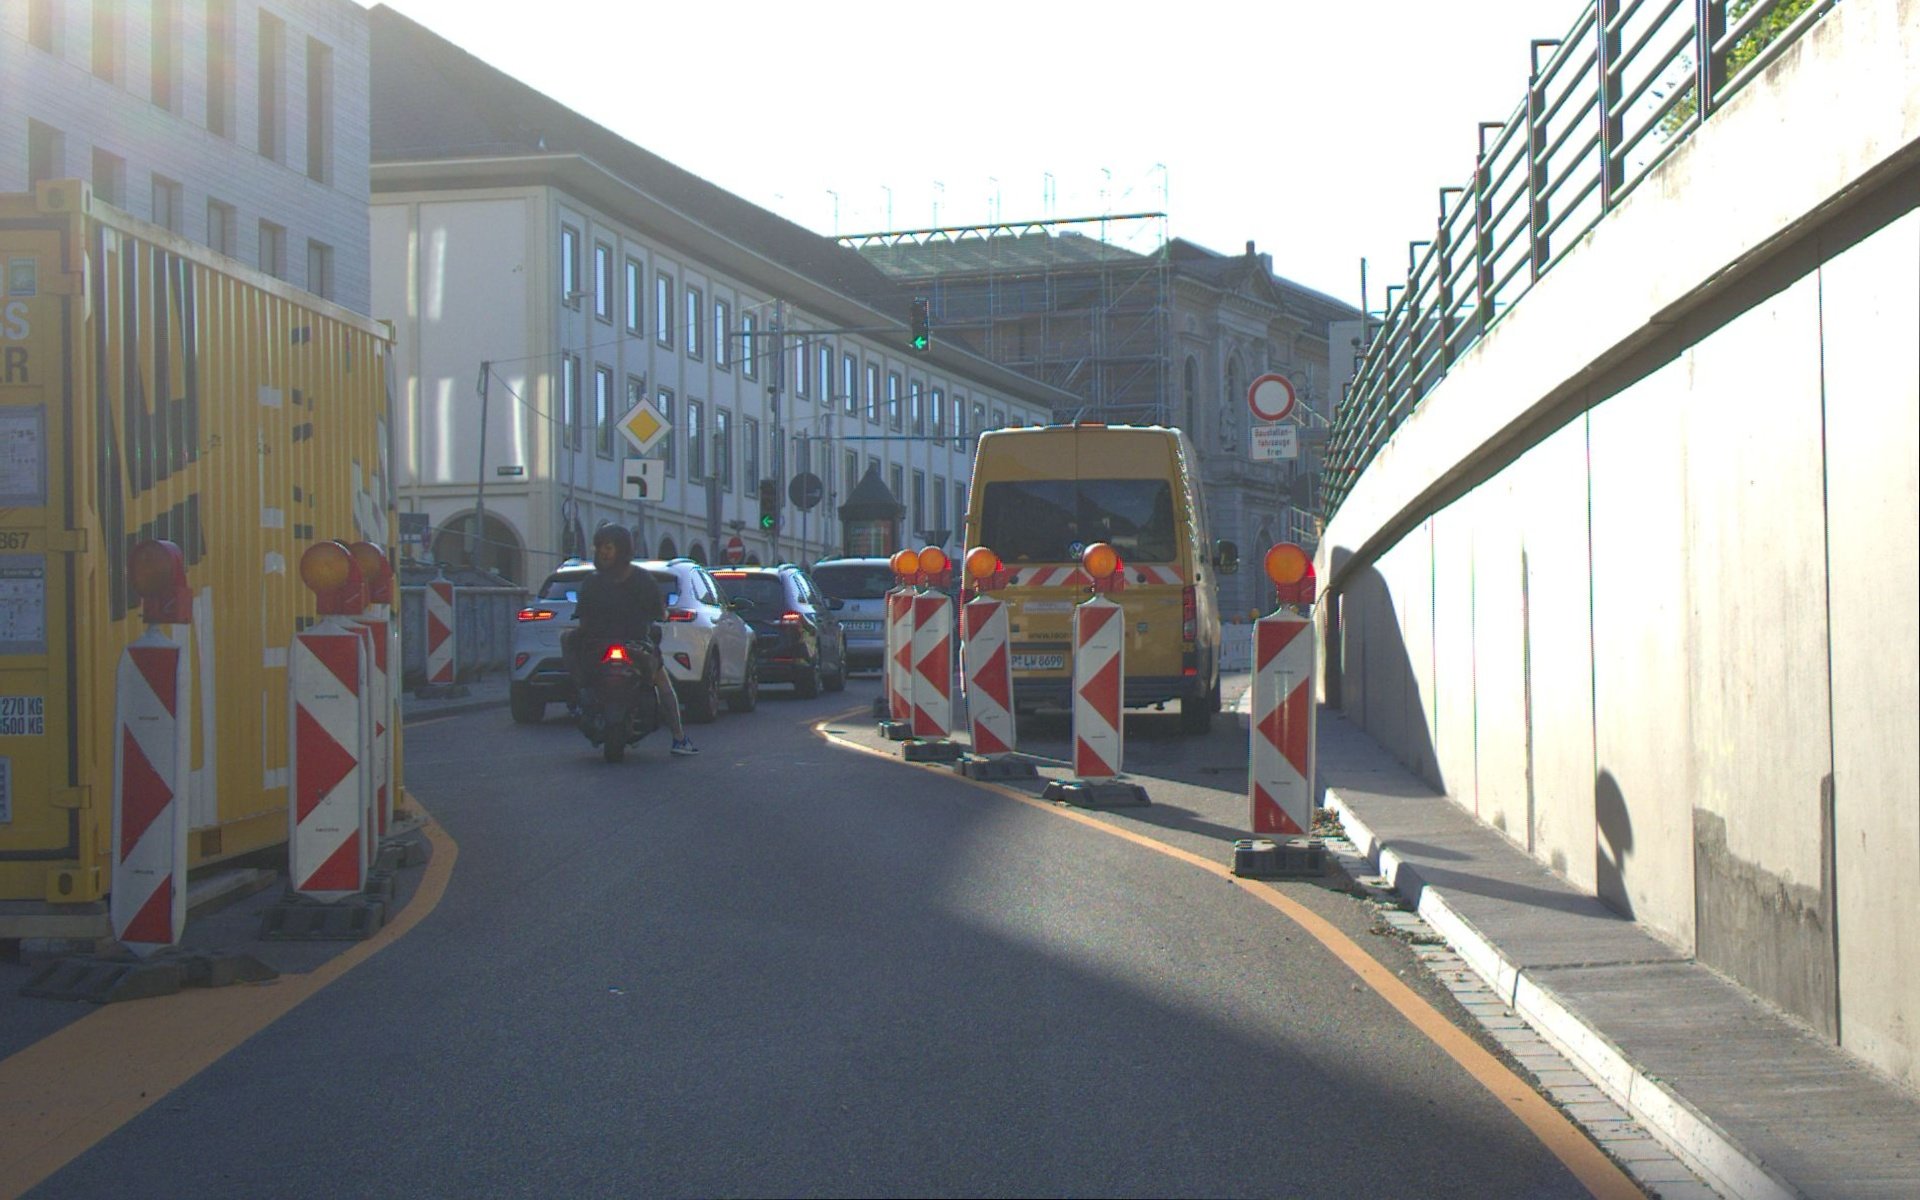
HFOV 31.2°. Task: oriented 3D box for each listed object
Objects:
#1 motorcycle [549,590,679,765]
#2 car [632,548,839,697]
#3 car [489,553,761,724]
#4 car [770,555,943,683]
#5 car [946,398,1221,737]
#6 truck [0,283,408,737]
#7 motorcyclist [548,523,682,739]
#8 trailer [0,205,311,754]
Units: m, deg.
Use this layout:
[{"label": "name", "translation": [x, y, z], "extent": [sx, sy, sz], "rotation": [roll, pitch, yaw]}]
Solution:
[{"label": "motorcycle", "translation": [-2.539, 0.538, 25.412], "extent": [0.905, 1.179, 2.579], "rotation": [0, 1, -5]}, {"label": "car", "translation": [-2.446, 0.287, 38.356], "extent": [1.774, 1.545, 4.105], "rotation": [-1, -1, 4]}, {"label": "car", "translation": [-3.041, 0.344, 32.016], "extent": [1.859, 1.467, 3.999], "rotation": [1, 0, 4]}, {"label": "car", "translation": [-1.410, 0.232, 48.550], "extent": [1.804, 1.715, 4.162], "rotation": [0, 1, 7]}, {"label": "car", "translation": [1.168, -0.268, 30.288], "extent": [2.112, 2.616, 6.986], "rotation": [-1, 0, 3]}, {"label": "truck", "translation": [-6.984, -0.708, 30.257], "extent": [2.580, 3.478, 5.815], "rotation": [-4, 0, 5]}, {"label": "motorcyclist", "translation": [-2.538, 0.212, 25.374], "extent": [0.954, 1.554, 1.239], "rotation": [0, 1, -5]}, {"label": "trailer", "translation": [-7.438, -0.748, 25.871], "extent": [2.642, 3.656, 8.747], "rotation": [-4, 0, 4]}]
